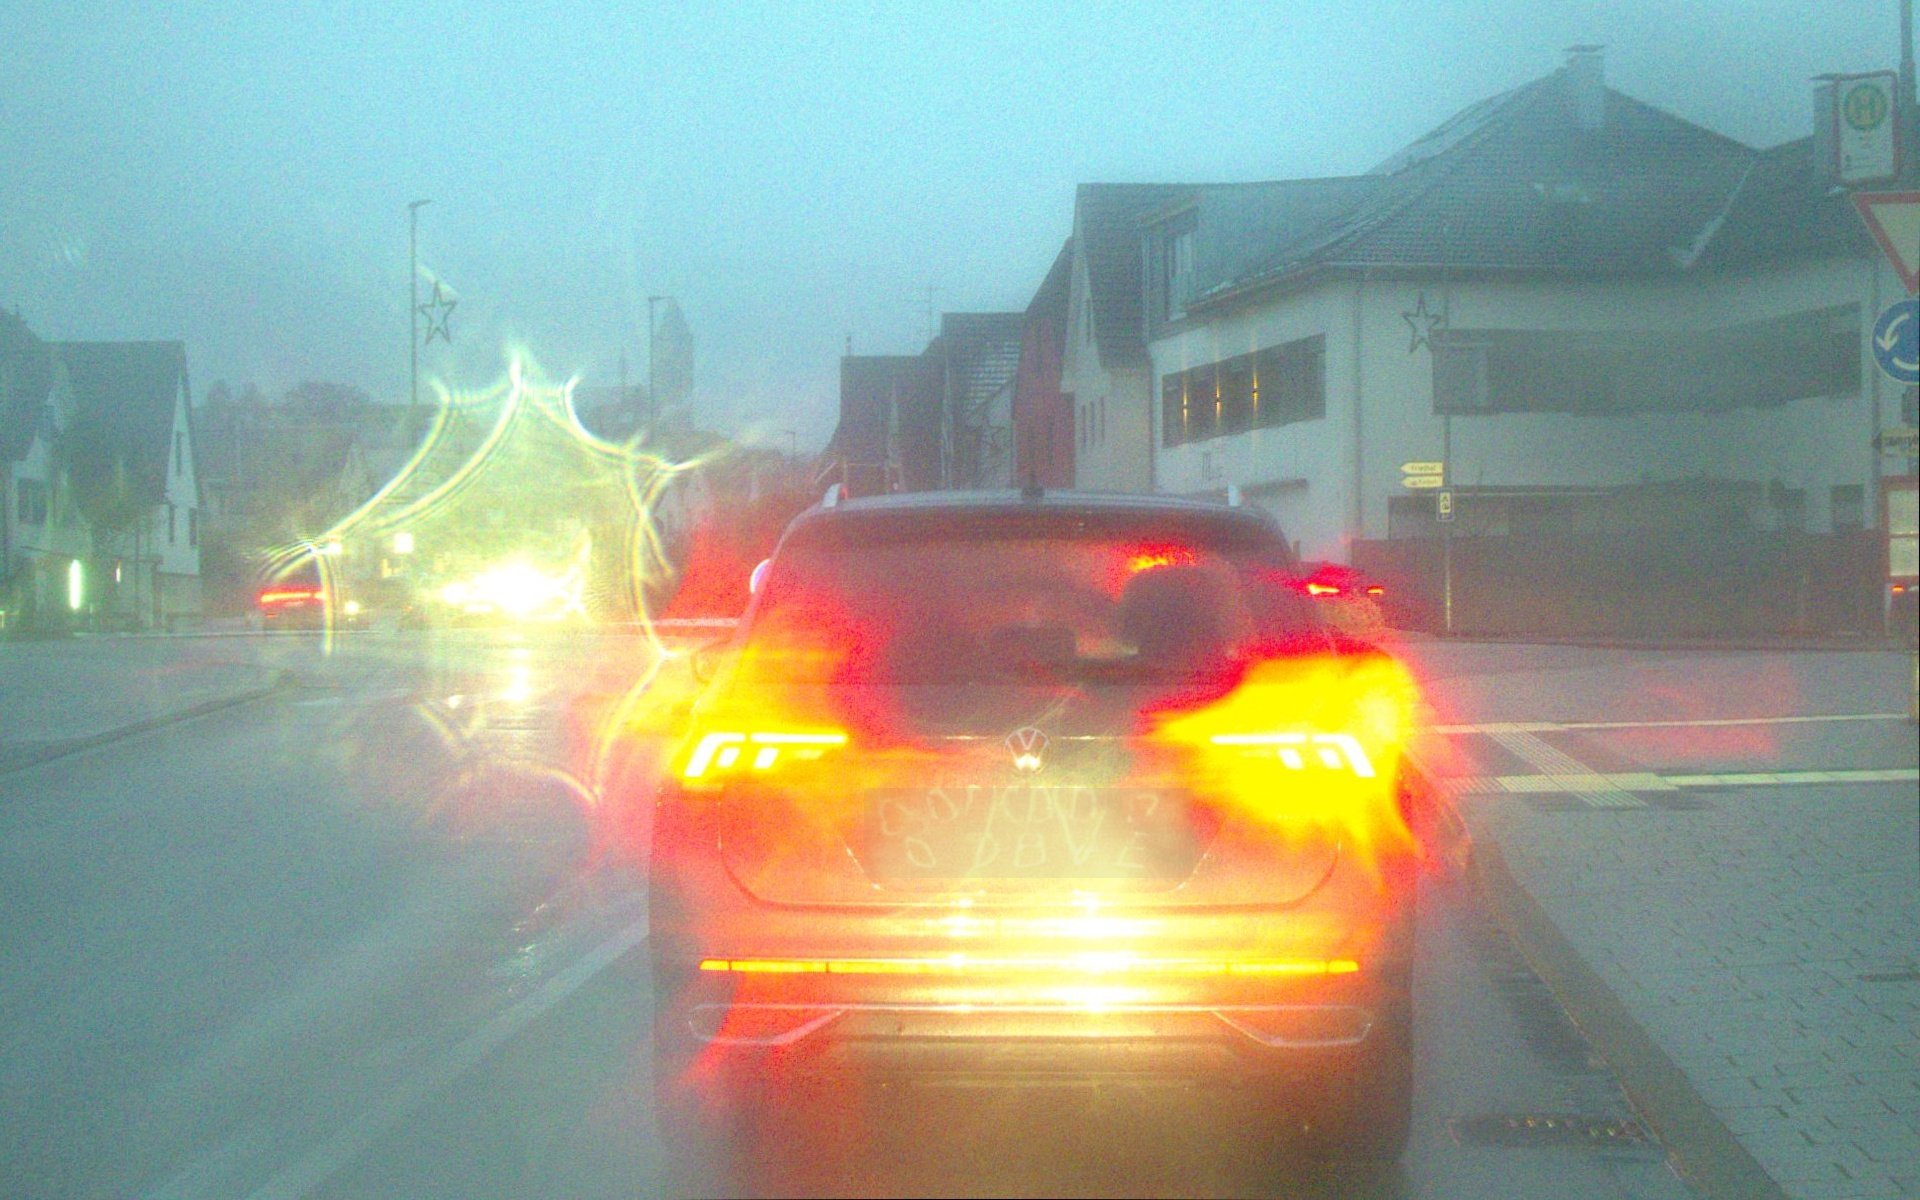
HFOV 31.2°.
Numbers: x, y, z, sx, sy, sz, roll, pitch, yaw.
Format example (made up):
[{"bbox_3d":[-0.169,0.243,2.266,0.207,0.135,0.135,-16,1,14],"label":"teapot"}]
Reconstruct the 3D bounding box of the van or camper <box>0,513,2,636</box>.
[{"bbox_3d":[-18.159,-0.365,54.353,5.534,1.948,1.999,0,1,14],"label":"van or camper"}]

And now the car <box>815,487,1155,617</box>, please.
[{"bbox_3d":[0.327,-0.574,41.754,3.987,1.413,2.000,-2,0,2],"label":"car"}]

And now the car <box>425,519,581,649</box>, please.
[{"bbox_3d":[-8.144,-0.275,61.676,1.994,2.196,4.417,2,0,2],"label":"car"}]

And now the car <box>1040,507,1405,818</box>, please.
[{"bbox_3d":[1.284,0.253,18.223,1.682,1.448,4.000,1,1,1],"label":"car"}]

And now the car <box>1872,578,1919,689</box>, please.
[{"bbox_3d":[14.658,0.514,46.576,3.986,1.474,2.000,2,-1,-21],"label":"car"}]

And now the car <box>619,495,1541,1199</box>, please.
[{"bbox_3d":[0.293,0.539,9.575,1.964,1.589,4.313,1,1,1],"label":"car"}]

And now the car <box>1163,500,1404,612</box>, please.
[{"bbox_3d":[5.932,-0.843,63.583,2.158,1.984,4.499,0,2,-31],"label":"car"}]
